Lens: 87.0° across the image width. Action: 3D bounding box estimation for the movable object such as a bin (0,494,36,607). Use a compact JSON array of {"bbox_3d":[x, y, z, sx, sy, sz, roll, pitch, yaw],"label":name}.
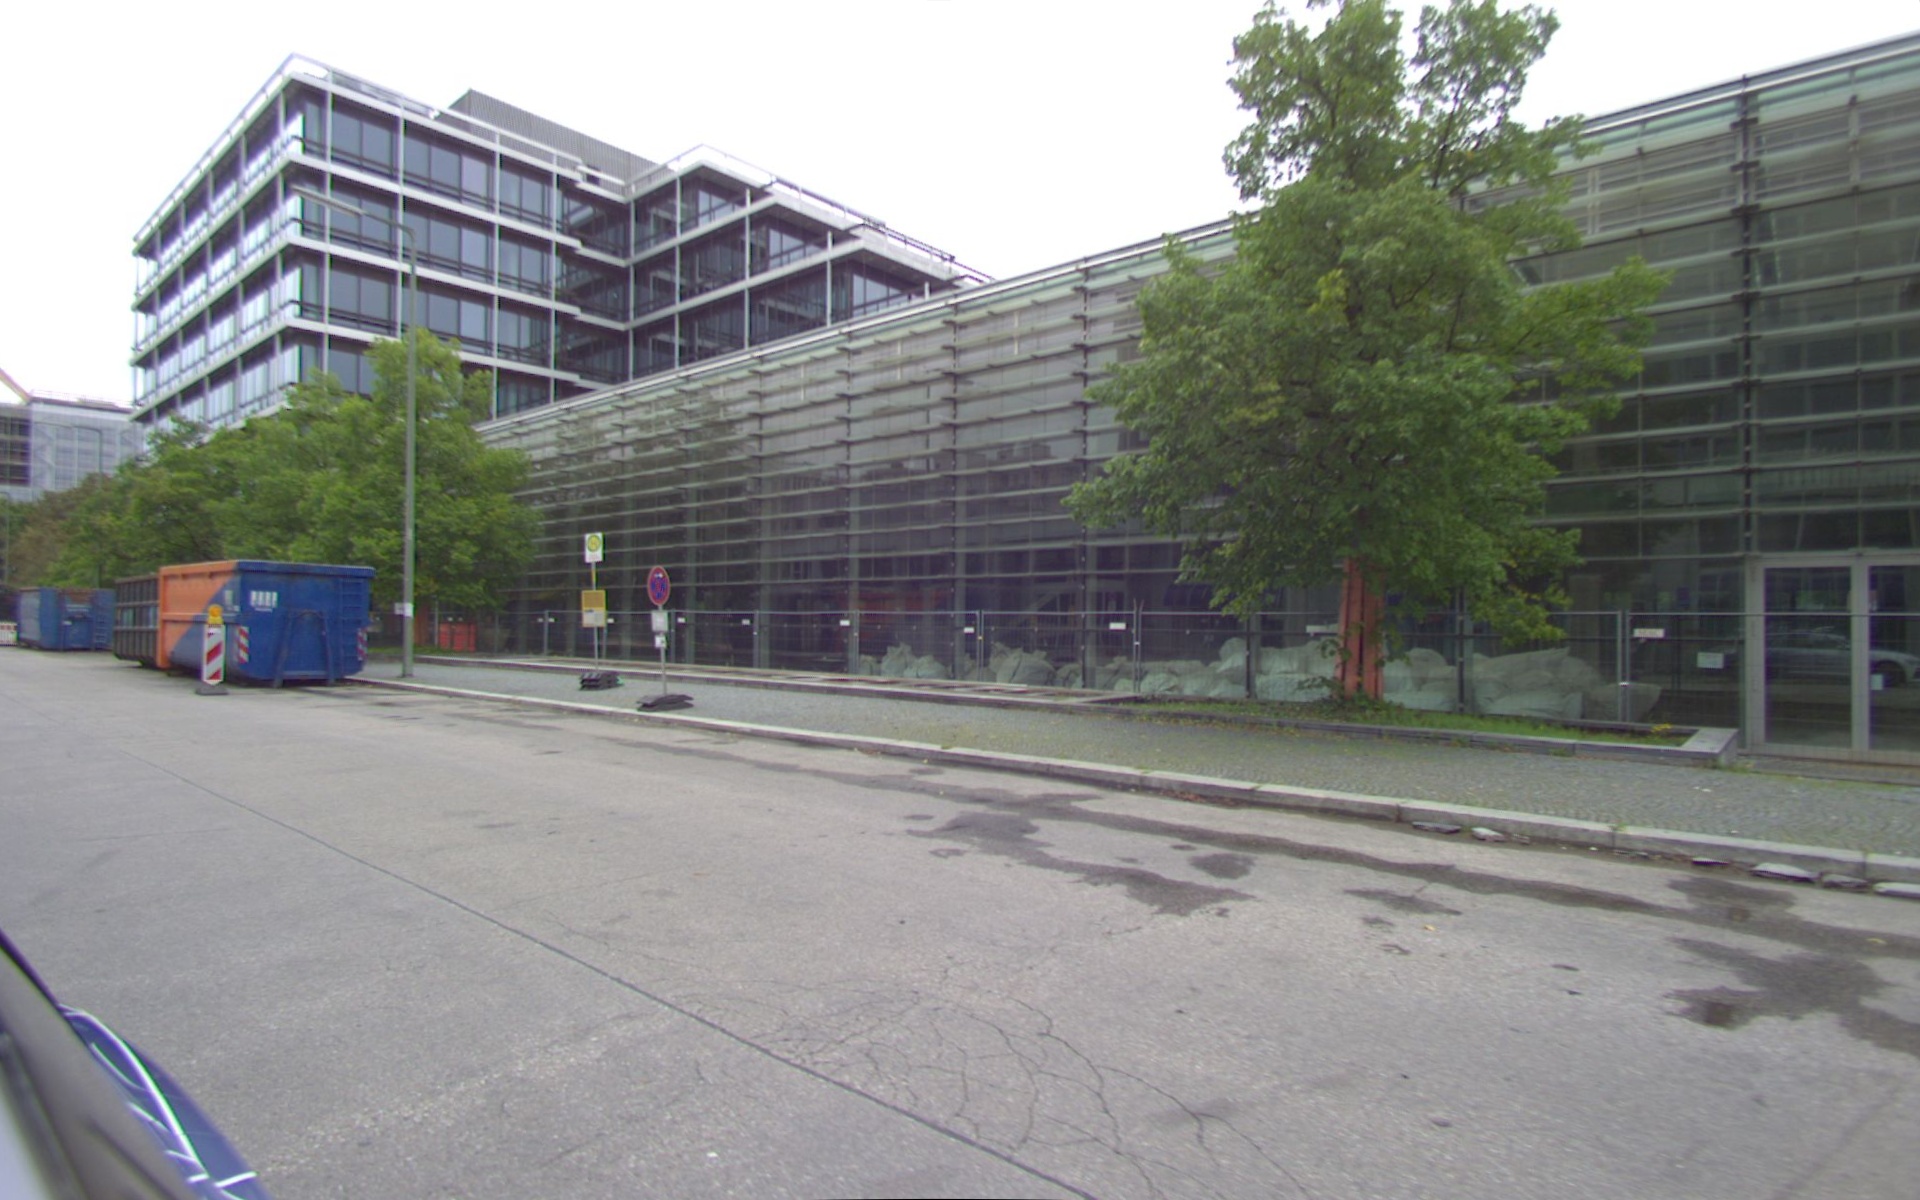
[{"bbox_3d":[-60.879,-2.920,63.464,11.778,6.614,2.874,0,-1,41],"label":"movable object such as a bin"}]
